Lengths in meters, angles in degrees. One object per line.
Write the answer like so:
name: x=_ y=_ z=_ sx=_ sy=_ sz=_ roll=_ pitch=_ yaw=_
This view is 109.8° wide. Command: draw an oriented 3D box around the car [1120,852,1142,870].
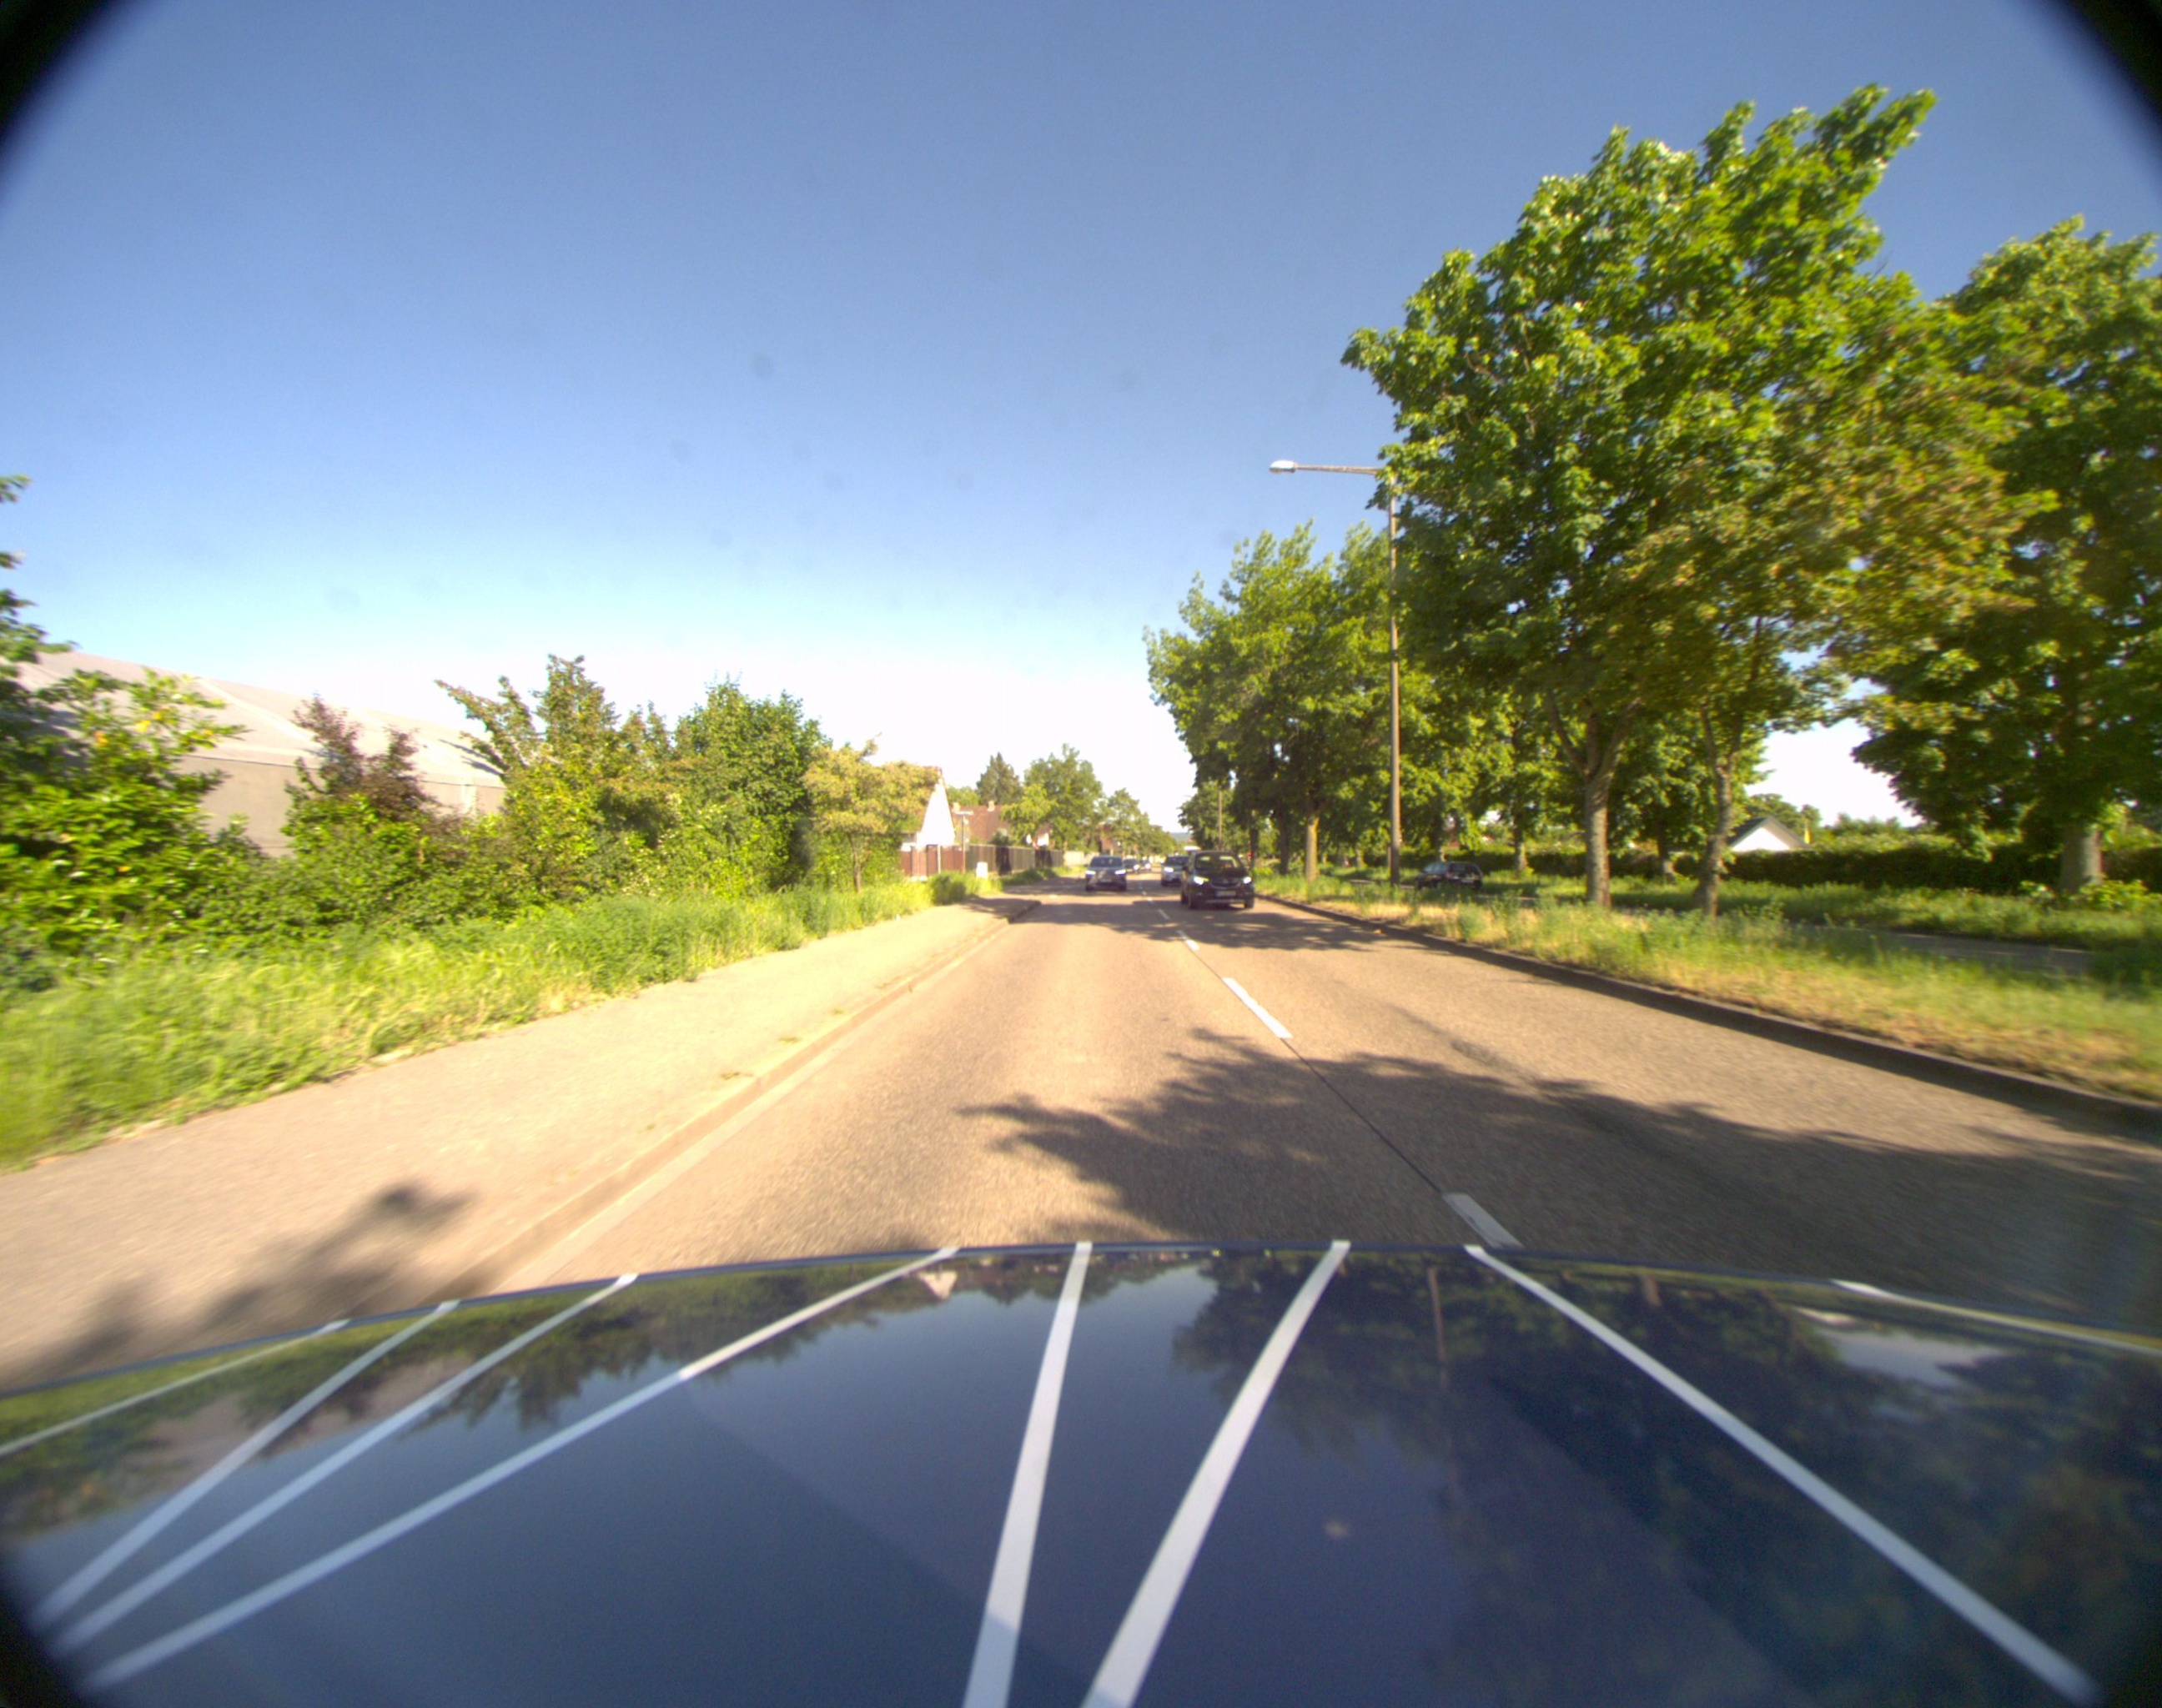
car: x=4.685 y=0.622 z=71.034 sx=1.822 sy=1.553 sz=4.274 roll=-1 pitch=1 yaw=7

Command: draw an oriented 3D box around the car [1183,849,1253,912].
car: x=3.941 y=0.702 z=22.455 sx=1.810 sy=1.605 sz=4.516 roll=-1 pitch=1 yaw=7

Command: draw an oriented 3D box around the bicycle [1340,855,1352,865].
bicycle: x=26.255 y=0.555 z=75.221 sx=0.691 sy=0.990 sz=1.842 roll=-1 pitch=0 yaw=7

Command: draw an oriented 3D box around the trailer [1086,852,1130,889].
trailer: x=1.207 y=0.726 z=35.275 sx=1.897 sy=1.585 sz=4.000 roll=-2 pitch=0 yaw=1

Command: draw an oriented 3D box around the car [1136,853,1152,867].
car: x=7.497 y=0.659 z=90.263 sx=1.822 sy=1.587 sz=4.274 roll=-1 pitch=0 yaw=6

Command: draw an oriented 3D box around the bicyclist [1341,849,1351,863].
bicyclist: x=26.255 y=0.223 z=75.211 sx=0.691 sy=1.412 sz=1.001 roll=-1 pitch=1 yaw=7

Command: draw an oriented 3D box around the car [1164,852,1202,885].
car: x=5.364 y=0.713 z=39.644 sx=1.822 sy=1.553 sz=4.649 roll=-1 pitch=0 yaw=9

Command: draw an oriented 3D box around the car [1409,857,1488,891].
car: x=17.036 y=0.880 z=35.540 sx=1.696 sy=1.428 sz=4.942 roll=1 pitch=0 yaw=6
